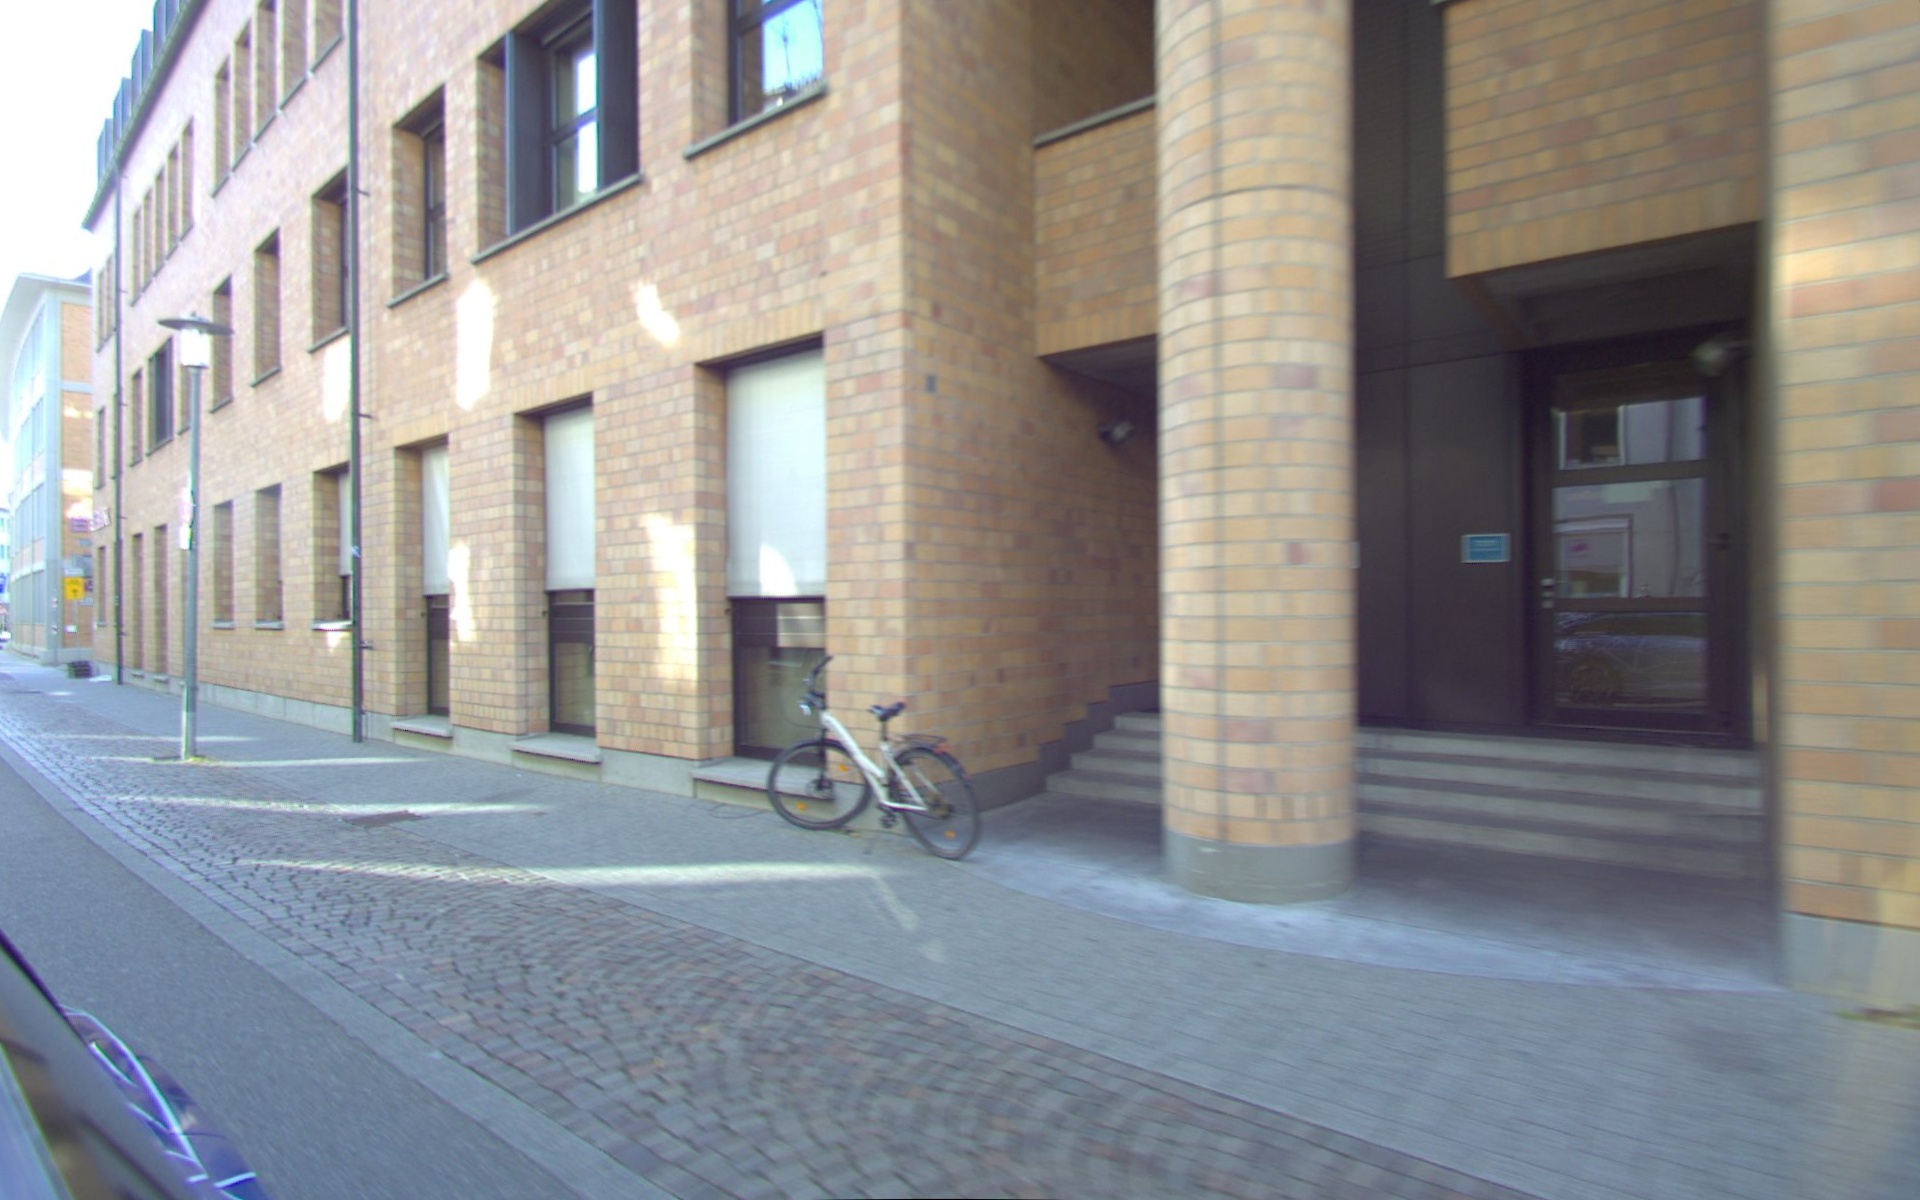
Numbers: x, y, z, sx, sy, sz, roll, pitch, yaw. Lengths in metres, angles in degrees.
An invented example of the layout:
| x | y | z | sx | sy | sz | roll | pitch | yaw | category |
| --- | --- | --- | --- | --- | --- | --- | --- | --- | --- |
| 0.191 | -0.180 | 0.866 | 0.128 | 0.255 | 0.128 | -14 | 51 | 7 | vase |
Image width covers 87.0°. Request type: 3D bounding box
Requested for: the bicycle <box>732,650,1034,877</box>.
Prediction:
| x | y | z | sx | sy | sz | roll | pitch | yaw | category |
| --- | --- | --- | --- | --- | --- | --- | --- | --- | --- |
| -0.504 | 0.921 | 6.205 | 1.798 | 1.171 | 0.626 | -2 | 1 | 33 | bicycle |
